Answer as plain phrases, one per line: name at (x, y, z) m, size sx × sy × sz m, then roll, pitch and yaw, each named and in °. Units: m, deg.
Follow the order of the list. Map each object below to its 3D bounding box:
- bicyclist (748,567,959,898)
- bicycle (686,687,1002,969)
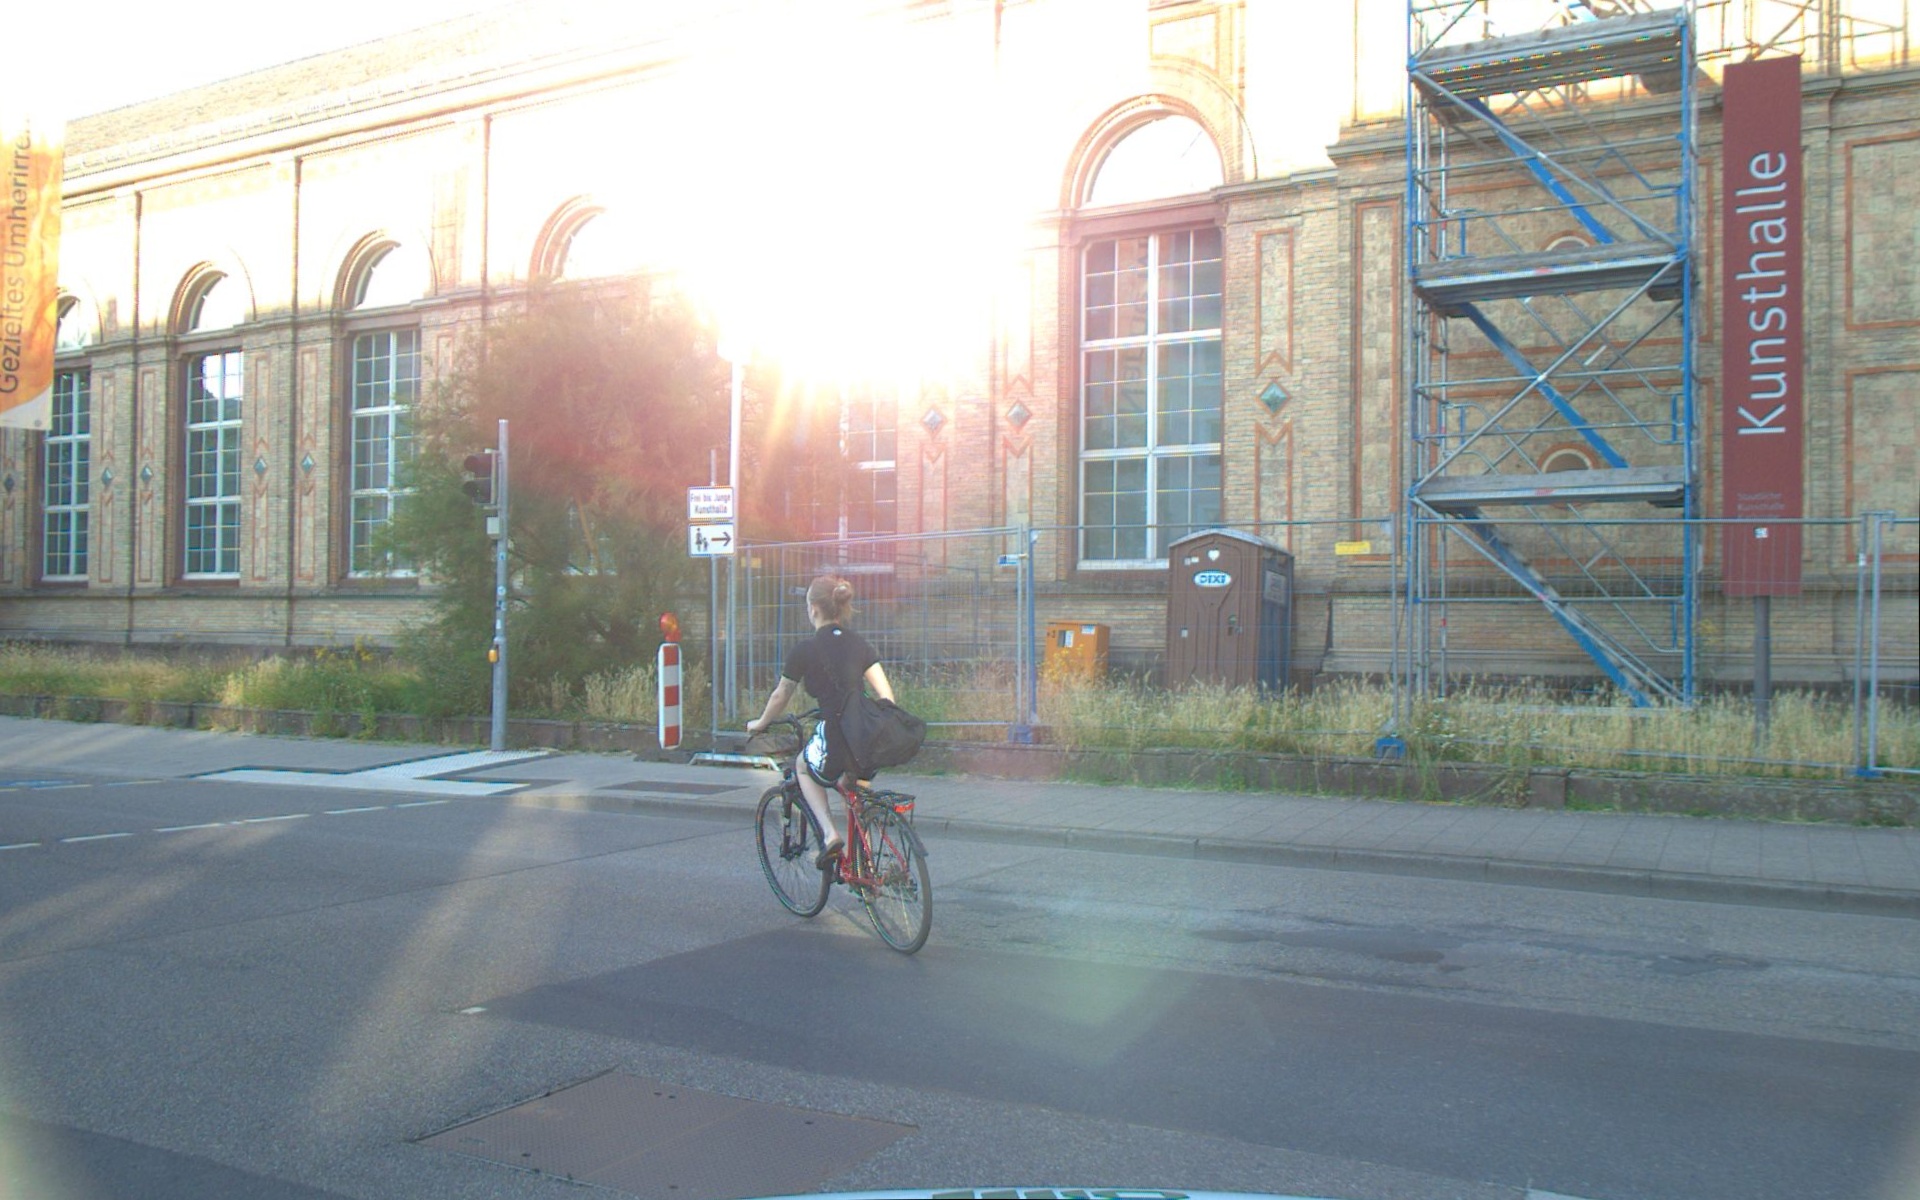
bicyclist at (-0.535, 0.630, 8.194) m, size 0.709 × 1.529 × 0.841 m, roll 2°, pitch -3°, yaw -32°
bicycle at (-0.646, 1.058, 8.324) m, size 0.704 × 1.176 × 2.046 m, roll 2°, pitch -2°, yaw -32°
